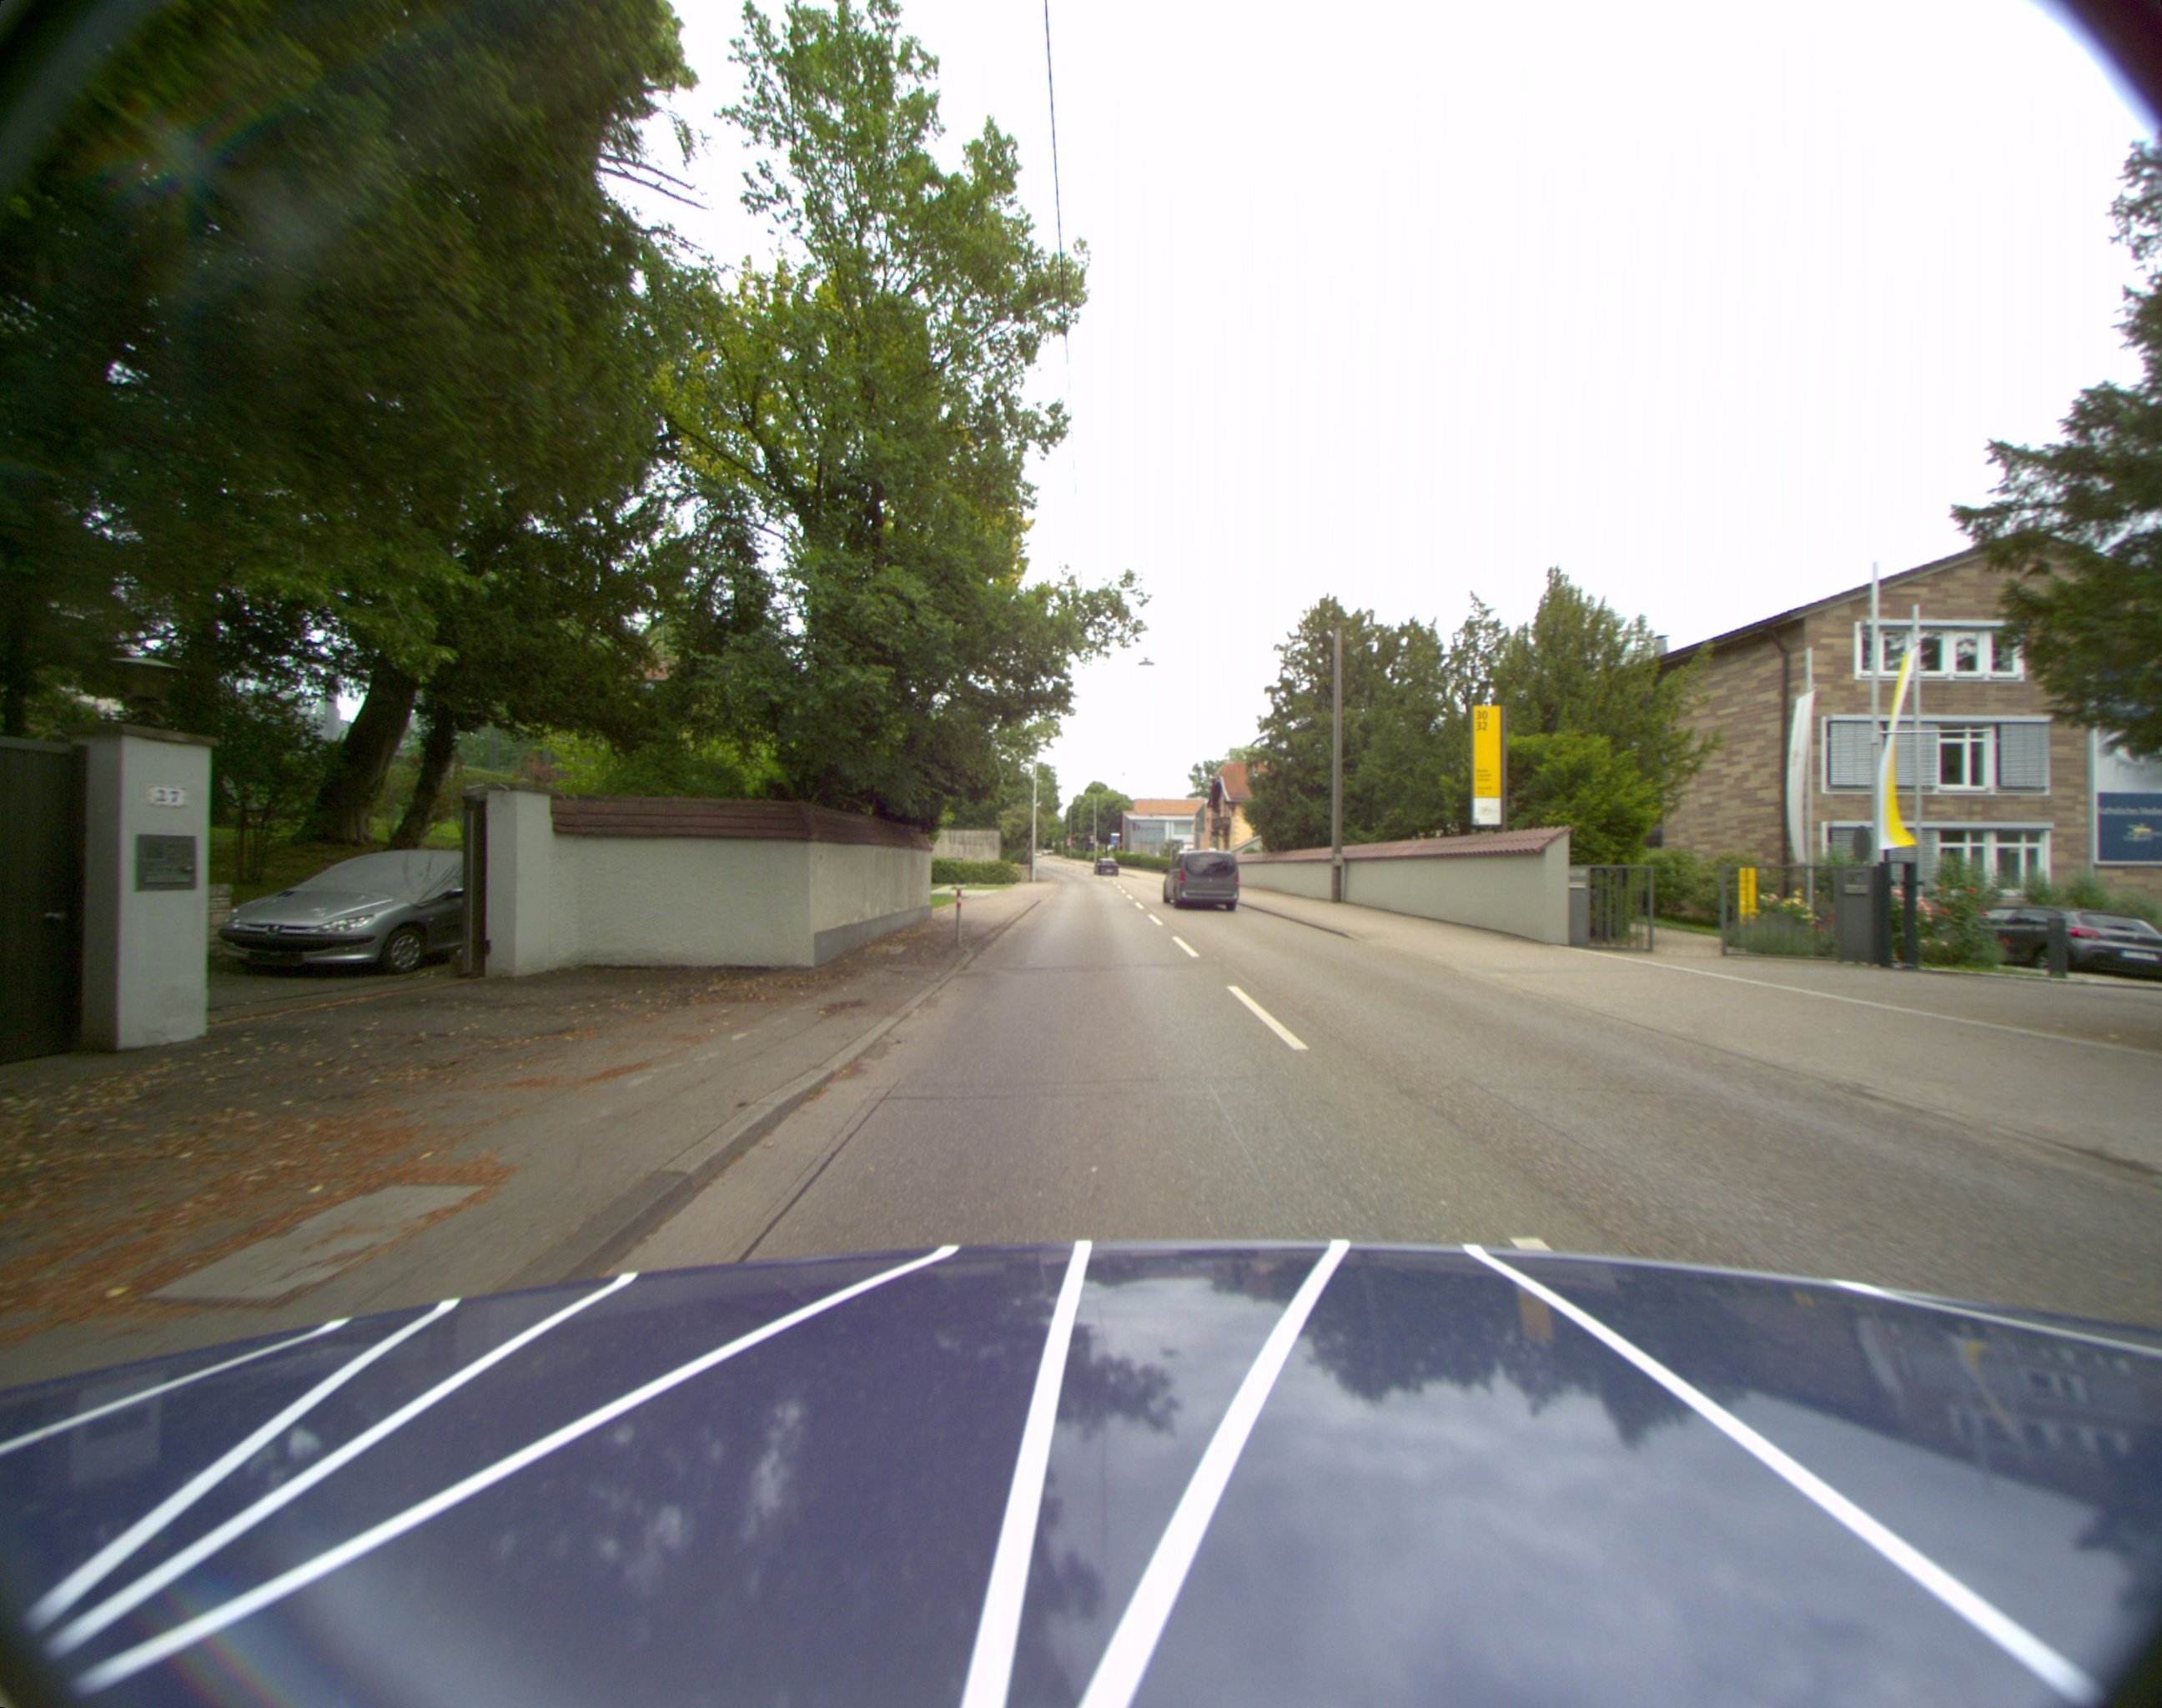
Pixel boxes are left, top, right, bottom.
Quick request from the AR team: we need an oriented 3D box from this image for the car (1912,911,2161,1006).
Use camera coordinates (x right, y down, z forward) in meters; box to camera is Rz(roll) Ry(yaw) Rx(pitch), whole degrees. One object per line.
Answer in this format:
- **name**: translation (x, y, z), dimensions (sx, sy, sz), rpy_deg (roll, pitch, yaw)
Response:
- **car**: translation (20.186, 2.101, 16.046), dimensions (1.647, 1.496, 3.863), rpy_deg (3, -1, 14)

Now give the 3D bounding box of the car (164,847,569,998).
- **car**: translation (-8.952, 0.724, 10.104), dimensions (1.756, 1.478, 3.997), rpy_deg (5, 0, -5)

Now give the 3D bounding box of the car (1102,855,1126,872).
- **car**: translation (2.852, 0.839, 65.970), dimensions (1.790, 1.420, 3.999), rpy_deg (1, 0, -2)

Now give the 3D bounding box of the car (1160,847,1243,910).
- **car**: translation (3.875, 0.740, 25.277), dimensions (1.895, 1.845, 5.083), rpy_deg (2, 0, 0)

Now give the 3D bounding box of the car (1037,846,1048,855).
- **car**: translation (-7.899, -0.742, 157.356), dimensions (2.000, 1.701, 3.997), rpy_deg (0, 1, -7)
